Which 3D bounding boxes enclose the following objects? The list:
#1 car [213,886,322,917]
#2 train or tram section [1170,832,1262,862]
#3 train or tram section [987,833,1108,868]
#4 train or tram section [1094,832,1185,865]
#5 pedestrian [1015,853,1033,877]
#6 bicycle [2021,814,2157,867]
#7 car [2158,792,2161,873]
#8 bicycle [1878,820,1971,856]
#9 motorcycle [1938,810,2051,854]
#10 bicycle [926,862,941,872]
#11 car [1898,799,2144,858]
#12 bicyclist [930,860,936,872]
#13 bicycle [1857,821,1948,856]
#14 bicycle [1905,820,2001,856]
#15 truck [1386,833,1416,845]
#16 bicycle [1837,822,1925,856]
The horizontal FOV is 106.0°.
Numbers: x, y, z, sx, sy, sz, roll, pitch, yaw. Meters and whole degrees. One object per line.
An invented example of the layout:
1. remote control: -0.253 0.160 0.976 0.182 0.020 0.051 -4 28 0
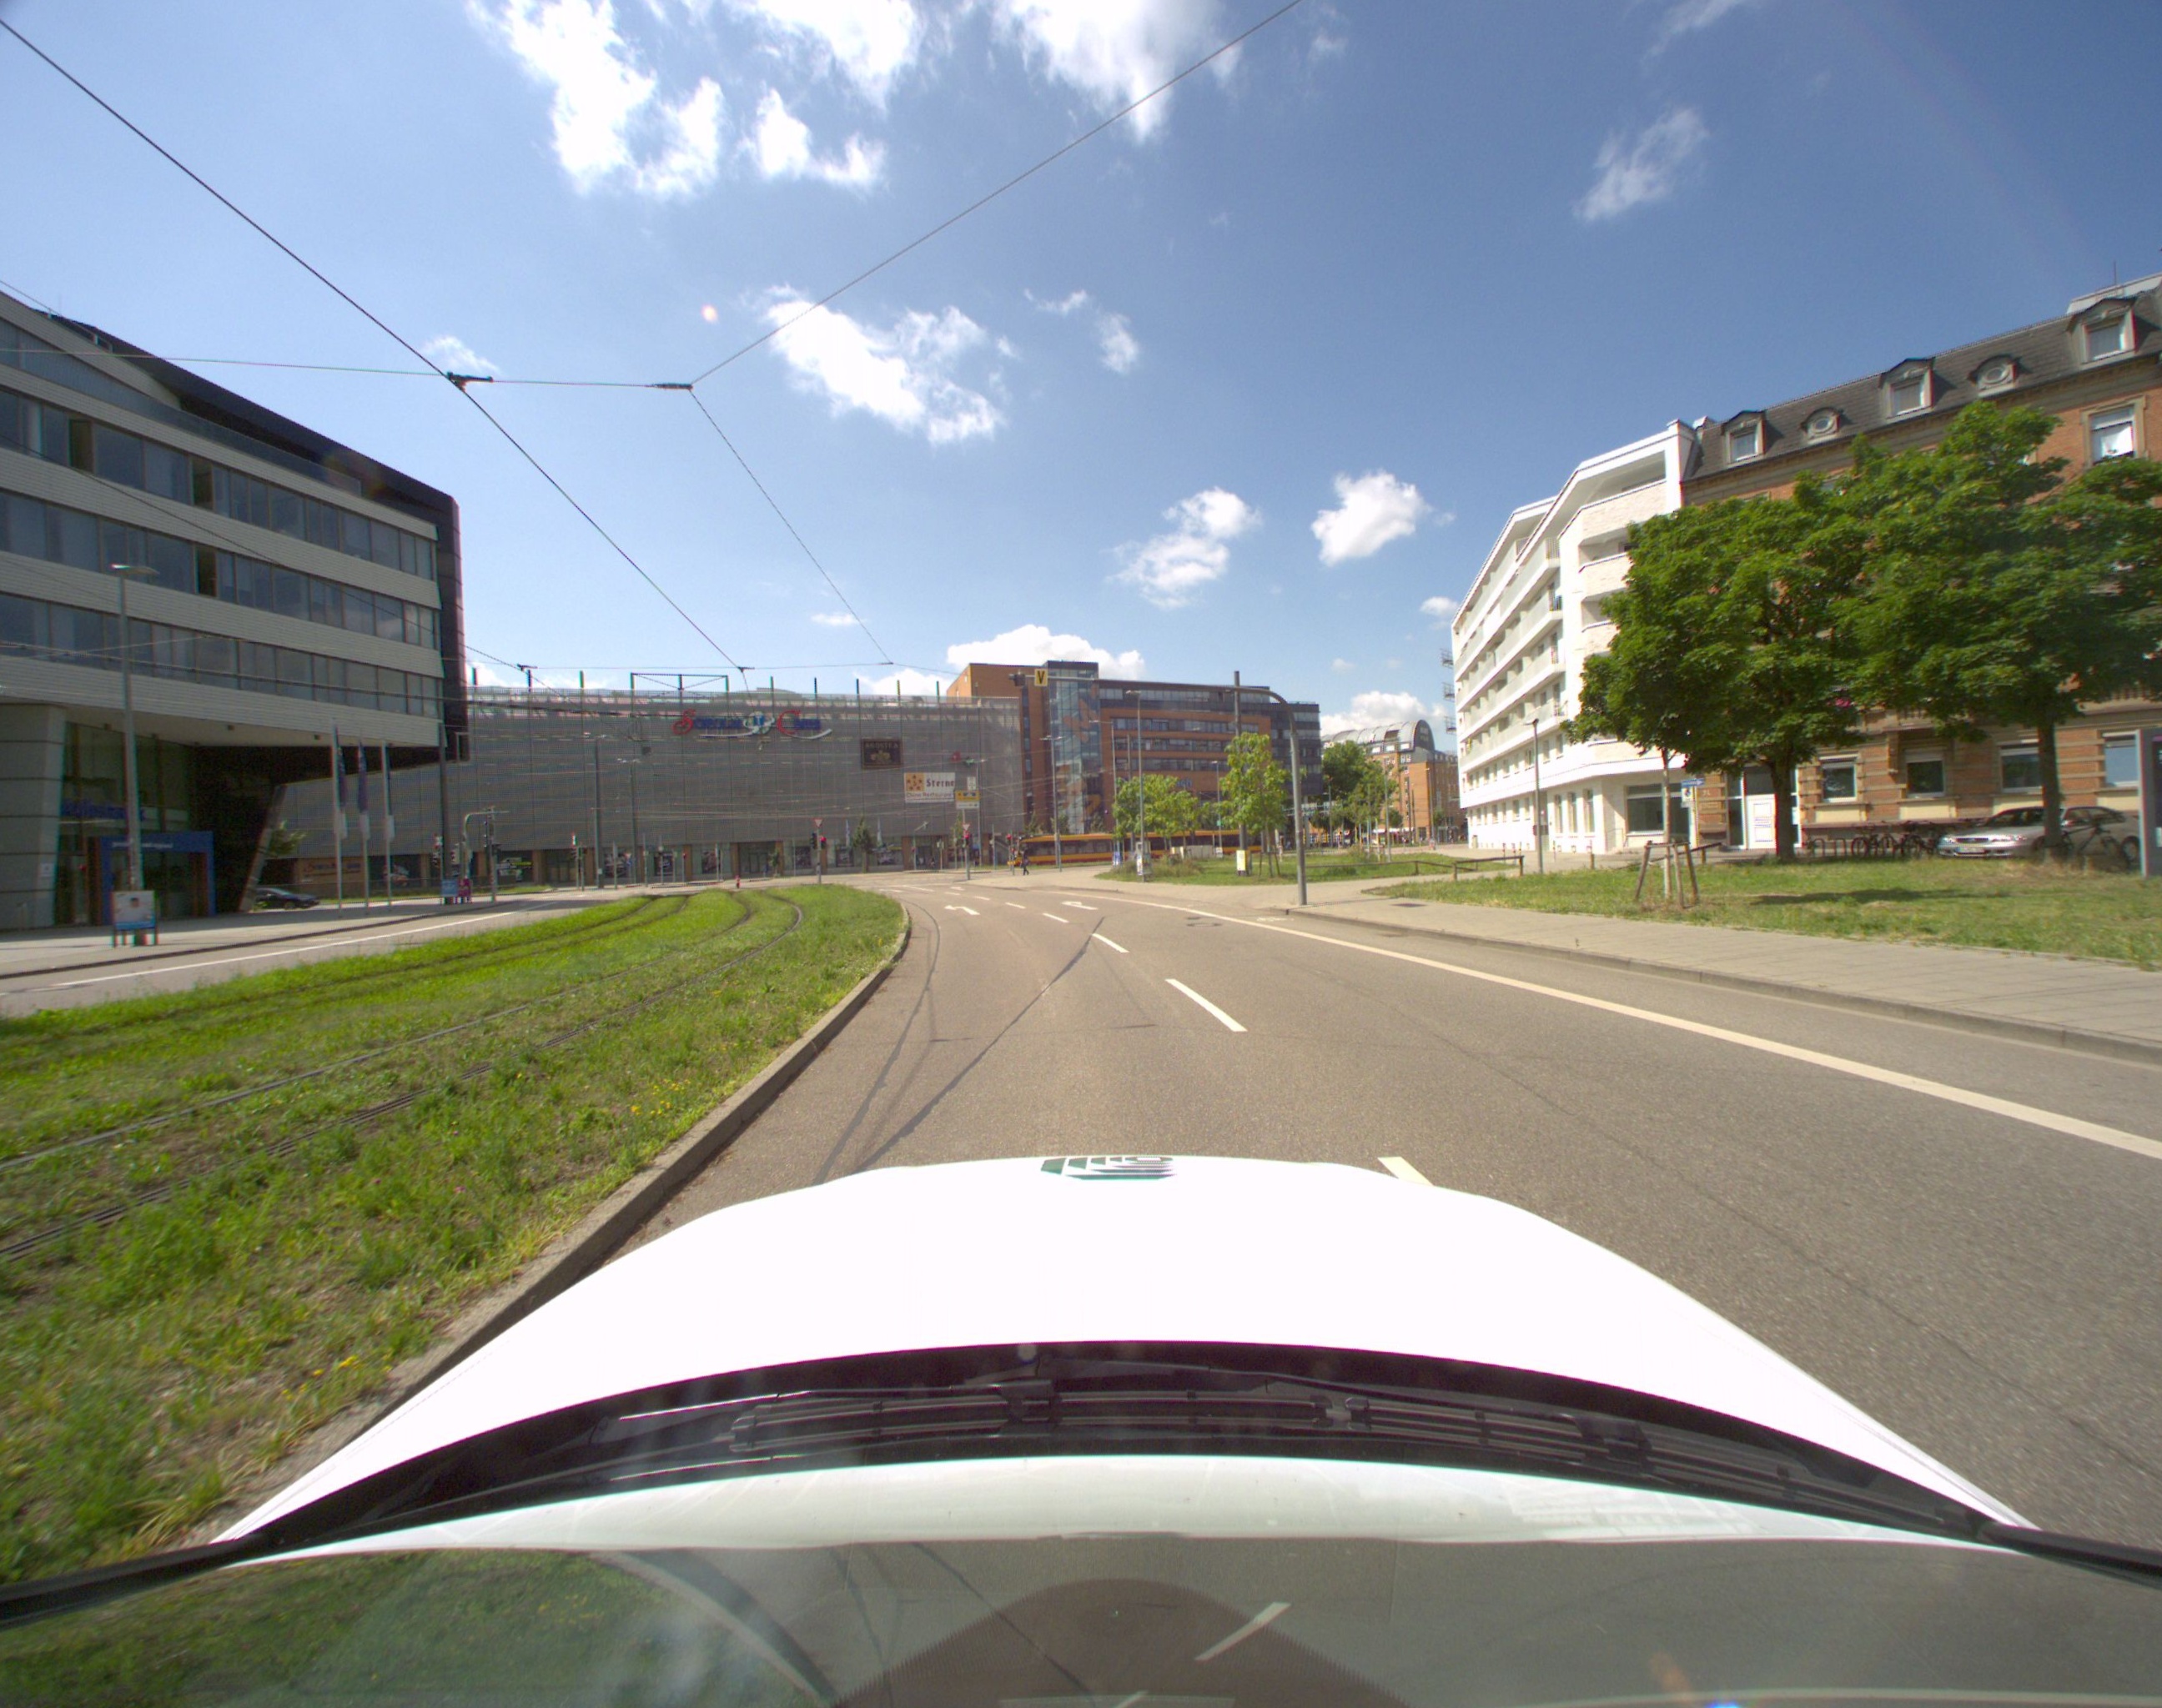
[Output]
1. car: -47.952 2.766 48.098 4.112 1.469 1.815 -2 0 -20
2. train or tram section: 17.177 -0.922 102.837 12.681 3.621 3.034 -1 0 -32
3. train or tram section: -3.529 -0.455 89.738 13.546 3.599 3.194 -1 0 -32
4. train or tram section: 7.063 -0.678 96.392 11.031 3.603 3.034 -1 0 -32
5. pedestrian: -4.140 0.805 59.546 0.907 1.702 0.813 -4 0 41
6. bicycle: 18.367 -0.232 14.903 0.538 0.901 1.827 -1 0 13
7. car: 21.253 -0.484 13.954 4.250 1.427 1.797 -3 0 -13
8. bicycle: 24.288 -0.452 23.444 2.382 0.969 0.542 -1 0 -8
9. motorcycle: 24.378 -0.579 21.753 2.382 1.125 0.810 -1 0 -8
10. bicycle: -19.217 1.743 106.136 1.766 1.224 0.580 -1 0 -20
11. car: 22.093 -0.572 19.224 4.148 1.244 1.858 -1 0 -8
12. bicyclist: -19.294 1.541 106.105 0.664 1.623 0.547 -1 0 -20
13. bicycle: 24.228 -0.451 24.027 2.382 0.969 0.542 -1 0 -8
14. bicycle: 24.360 -0.448 22.752 2.382 0.956 0.542 -1 0 -8
15. truck: 61.747 -2.889 157.263 2.006 2.086 5.471 -1 0 -29
16. bicycle: 24.154 -0.449 24.593 2.382 0.969 0.542 -1 0 -8
